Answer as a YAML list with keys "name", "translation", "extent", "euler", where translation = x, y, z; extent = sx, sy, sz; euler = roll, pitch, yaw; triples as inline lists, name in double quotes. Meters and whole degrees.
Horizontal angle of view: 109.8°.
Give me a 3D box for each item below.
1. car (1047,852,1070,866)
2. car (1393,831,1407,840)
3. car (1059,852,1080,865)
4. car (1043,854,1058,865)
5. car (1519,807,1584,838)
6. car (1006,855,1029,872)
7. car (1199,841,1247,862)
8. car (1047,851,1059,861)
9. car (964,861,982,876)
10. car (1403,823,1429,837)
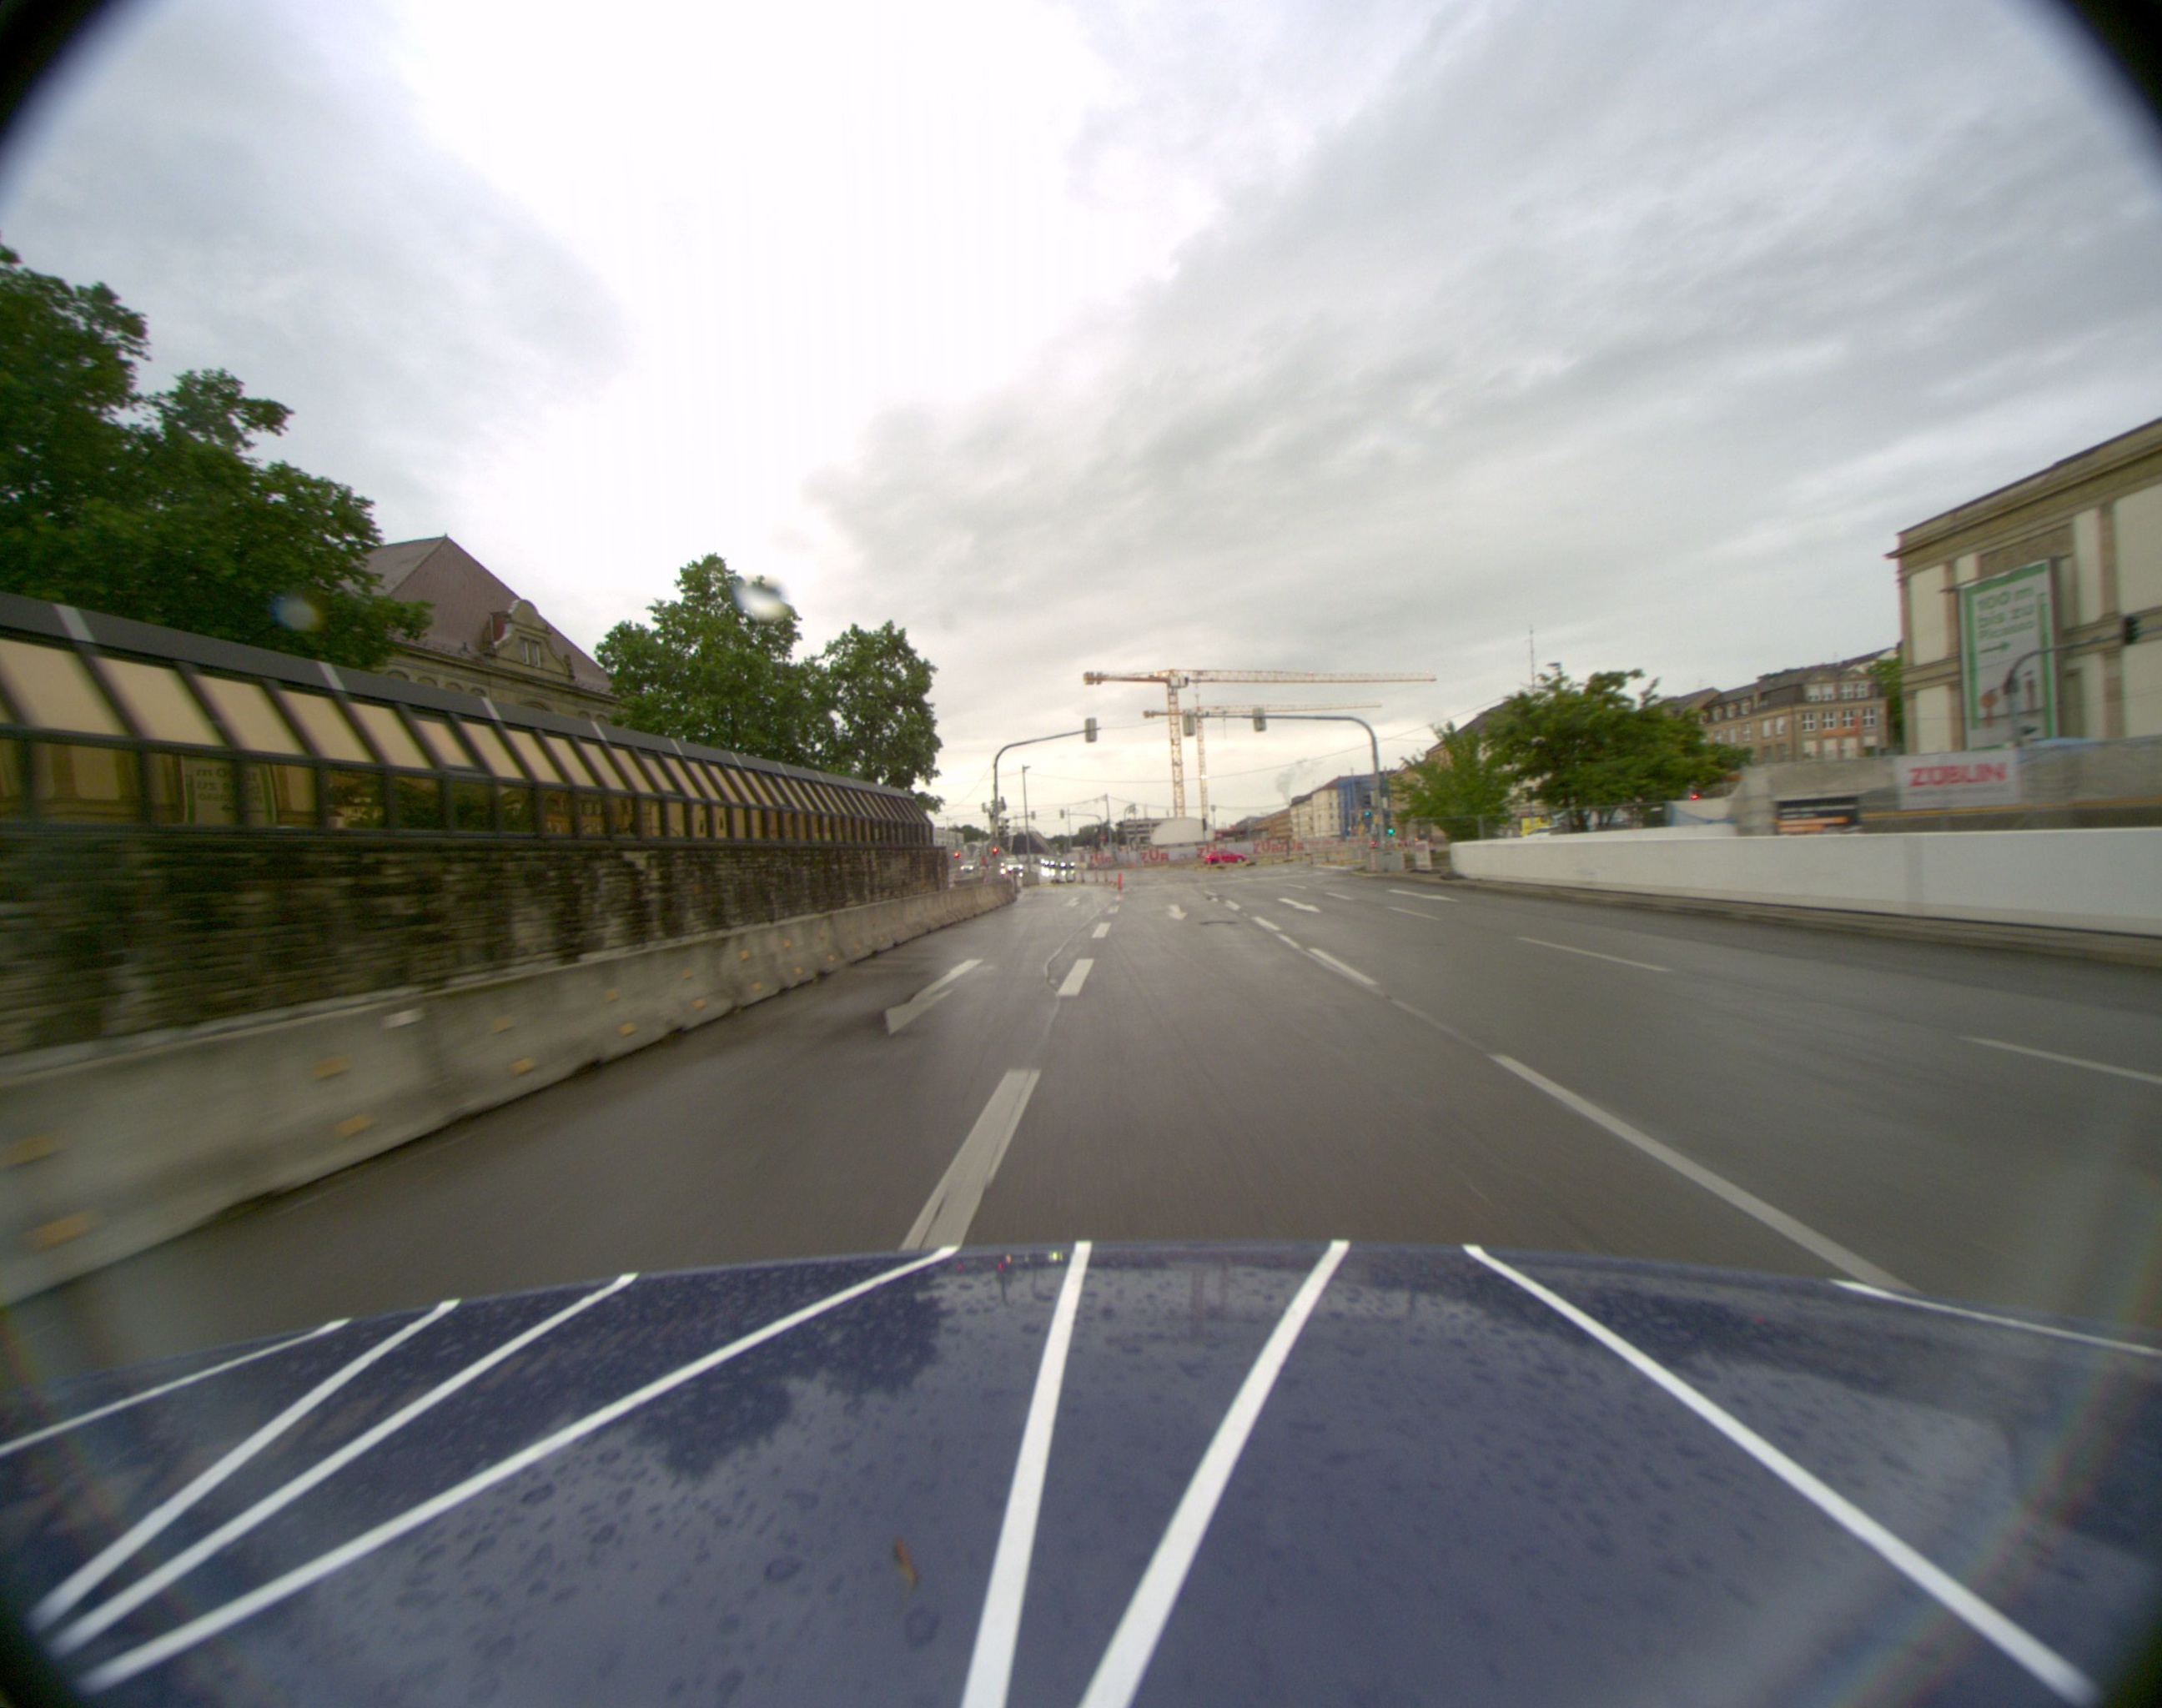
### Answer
- name: "car"
  translation: [-3.129, 0.749, 105.727]
  extent: [2.001, 1.707, 4.418]
  euler: [-6, 0, -16]
- name: "car"
  translation: [55.610, -3.253, 132.598]
  extent: [1.580, 1.340, 3.808]
  euler: [-5, 2, 15]
- name: "car"
  translation: [-1.567, 0.585, 100.100]
  extent: [1.861, 1.557, 3.798]
  euler: [-6, 1, -12]
- name: "car"
  translation: [-4.813, 0.812, 119.834]
  extent: [1.999, 1.548, 4.523]
  euler: [-6, 0, -5]
- name: "car"
  translation: [34.532, -2.305, 55.982]
  extent: [1.998, 2.002, 4.641]
  euler: [-6, 1, 4]
- name: "car"
  translation: [-8.305, 1.226, 98.864]
  extent: [2.001, 2.002, 4.418]
  euler: [-6, 0, -16]
- name: "car"
  translation: [13.309, -0.218, 71.309]
  extent: [3.998, 1.543, 1.690]
  euler: [-6, 1, -2]
- name: "car"
  translation: [-4.217, 0.284, 112.672]
  extent: [1.650, 1.172, 4.286]
  euler: [-5, 2, -3]
- name: "car"
  translation: [-15.344, 2.017, 108.210]
  extent: [1.999, 1.761, 4.356]
  euler: [-6, 1, -2]
- name: "car"
  translation: [50.131, -3.590, 113.801]
  extent: [1.998, 1.828, 4.683]
  euler: [-5, 1, 3]
